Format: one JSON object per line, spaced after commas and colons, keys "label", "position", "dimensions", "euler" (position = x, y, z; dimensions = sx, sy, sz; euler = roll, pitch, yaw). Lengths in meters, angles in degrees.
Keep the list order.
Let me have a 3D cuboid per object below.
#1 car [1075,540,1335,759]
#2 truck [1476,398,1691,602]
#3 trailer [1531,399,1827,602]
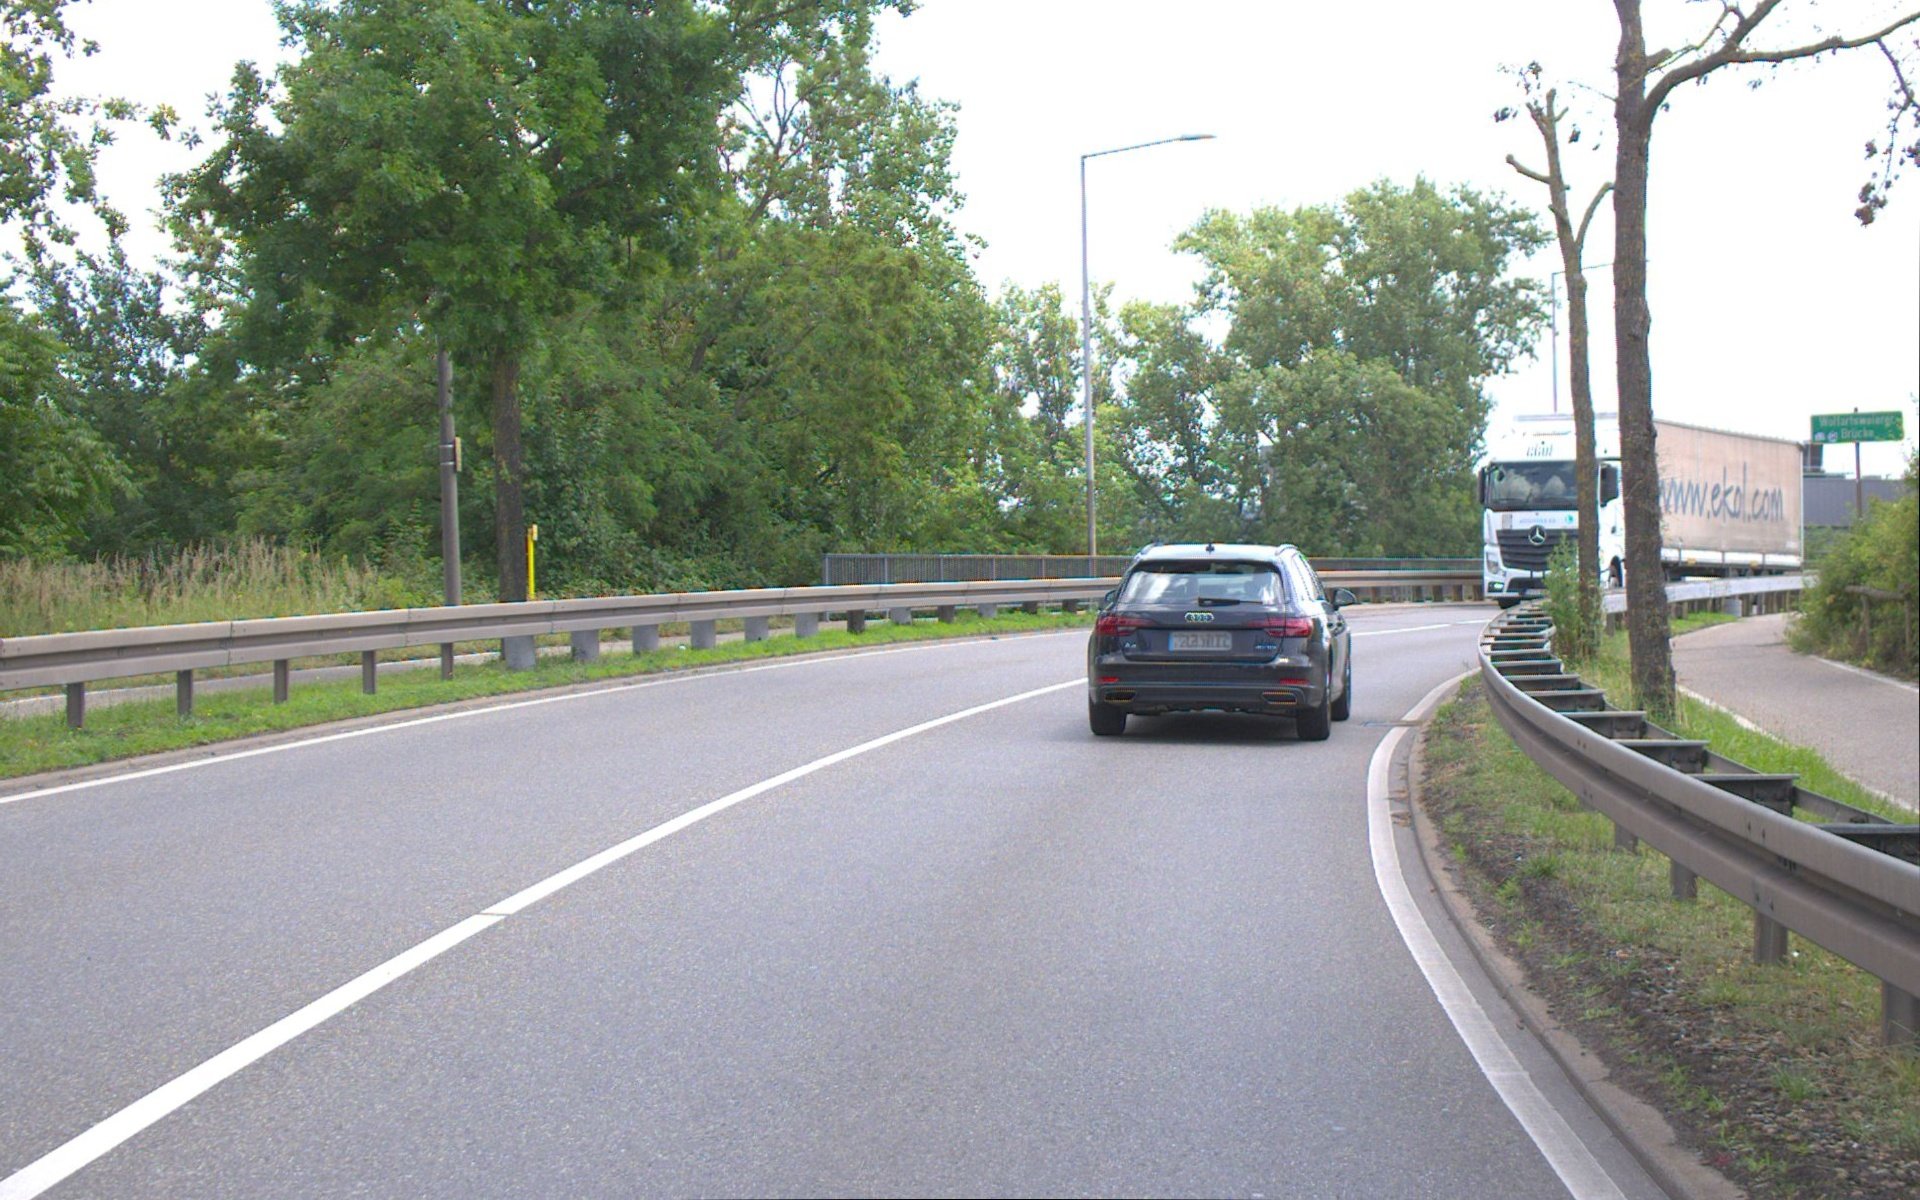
{"label": "car", "position": [1.879, 0.314, 26.606], "dimensions": [1.828, 1.486, 4.206], "euler": [1, 2, 4]}
{"label": "truck", "position": [13.214, -2.090, 72.526], "dimensions": [2.766, 4.120, 5.644], "euler": [1, 1, 29]}
{"label": "trailer", "position": [16.808, -2.206, 79.228], "dimensions": [2.710, 4.265, 14.210], "euler": [1, 1, 28]}
